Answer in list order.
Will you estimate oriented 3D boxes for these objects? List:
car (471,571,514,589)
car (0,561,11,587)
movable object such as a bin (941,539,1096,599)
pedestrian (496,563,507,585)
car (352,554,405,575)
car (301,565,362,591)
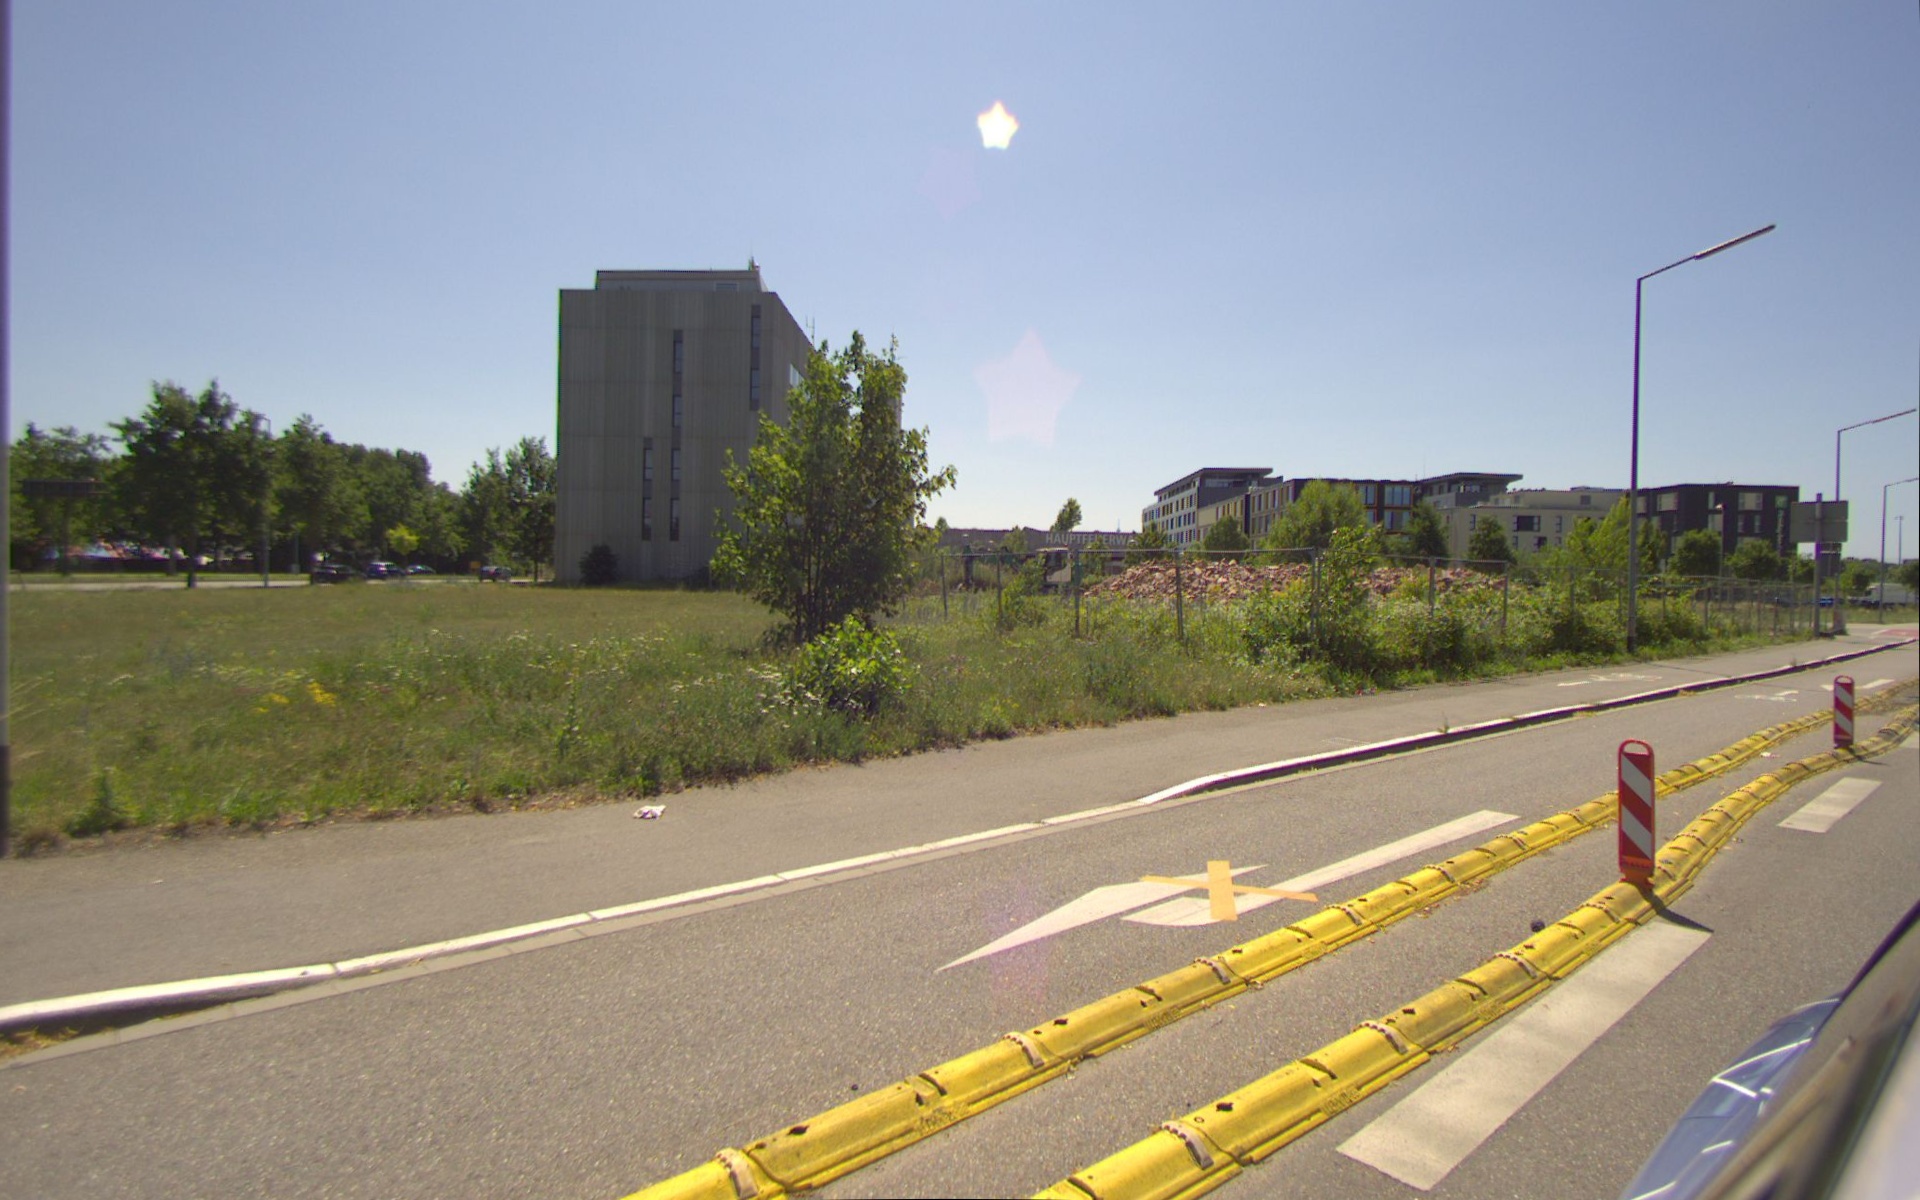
[{"bbox_3d":[-44.796,-1.944,97.083,1.963,1.615,4.418,2,1,1],"label":"car"},{"bbox_3d":[-59.192,-1.552,59.893,1.814,1.612,4.443,0,0,1],"label":"car"},{"bbox_3d":[3.122,-1.587,53.297,7.537,2.952,3.242,-1,0,-26],"label":"movable object such as a bin"},{"bbox_3d":[-33.455,-1.883,73.907,0.652,1.611,0.557,0,0,-15],"label":"pedestrian"},{"bbox_3d":[-48.362,-2.904,84.250,1.961,1.615,4.422,2,1,-3],"label":"car"},{"bbox_3d":[-42.348,-1.450,68.262,1.694,1.571,4.002,3,0,-3],"label":"car"}]
